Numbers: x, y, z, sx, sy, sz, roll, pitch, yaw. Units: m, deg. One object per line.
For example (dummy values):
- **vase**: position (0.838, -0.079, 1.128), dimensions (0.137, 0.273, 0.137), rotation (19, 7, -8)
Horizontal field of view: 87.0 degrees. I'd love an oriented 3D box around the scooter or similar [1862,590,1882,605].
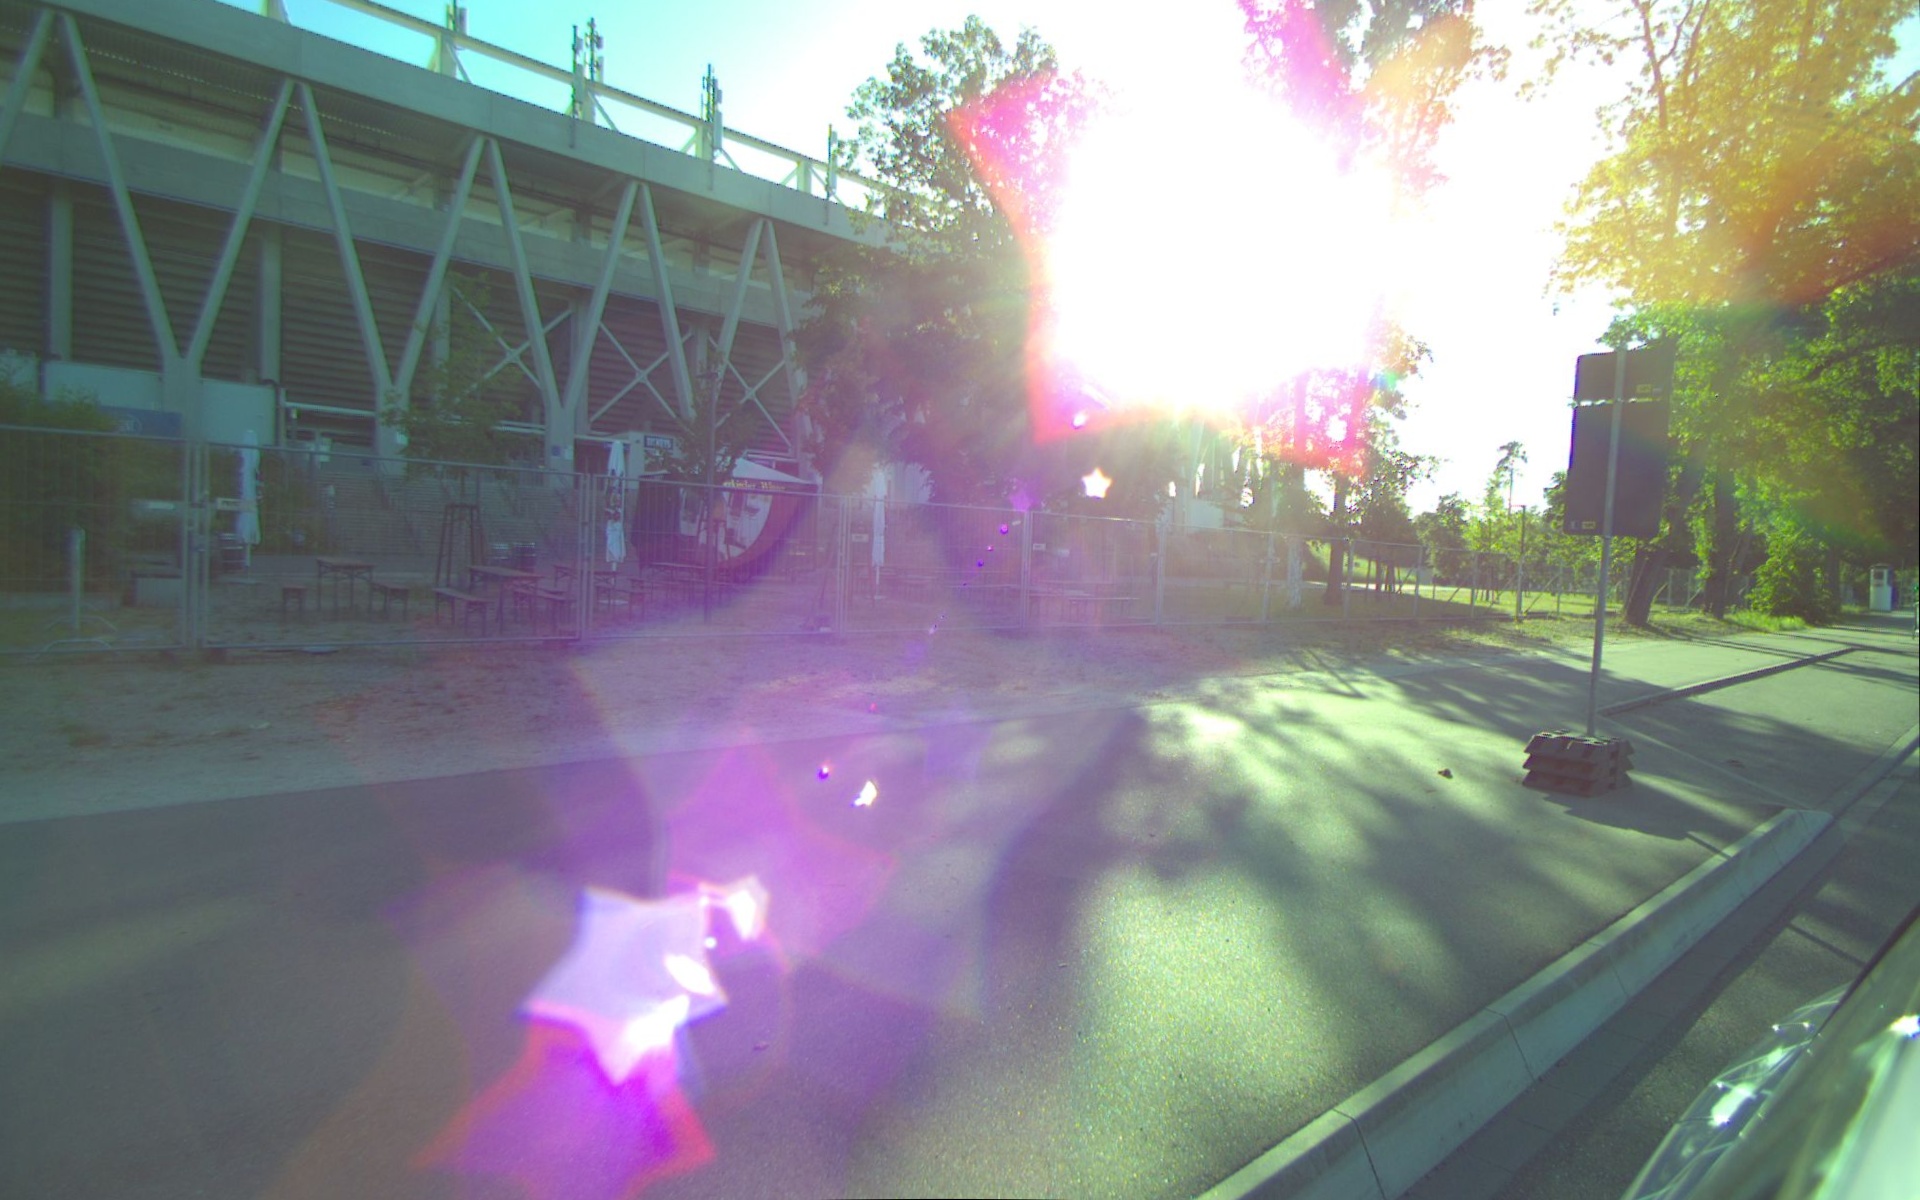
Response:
- **scooter or similar**: position (84.104, -0.237, 93.317), dimensions (1.280, 1.252, 0.334), rotation (2, 1, 11)
